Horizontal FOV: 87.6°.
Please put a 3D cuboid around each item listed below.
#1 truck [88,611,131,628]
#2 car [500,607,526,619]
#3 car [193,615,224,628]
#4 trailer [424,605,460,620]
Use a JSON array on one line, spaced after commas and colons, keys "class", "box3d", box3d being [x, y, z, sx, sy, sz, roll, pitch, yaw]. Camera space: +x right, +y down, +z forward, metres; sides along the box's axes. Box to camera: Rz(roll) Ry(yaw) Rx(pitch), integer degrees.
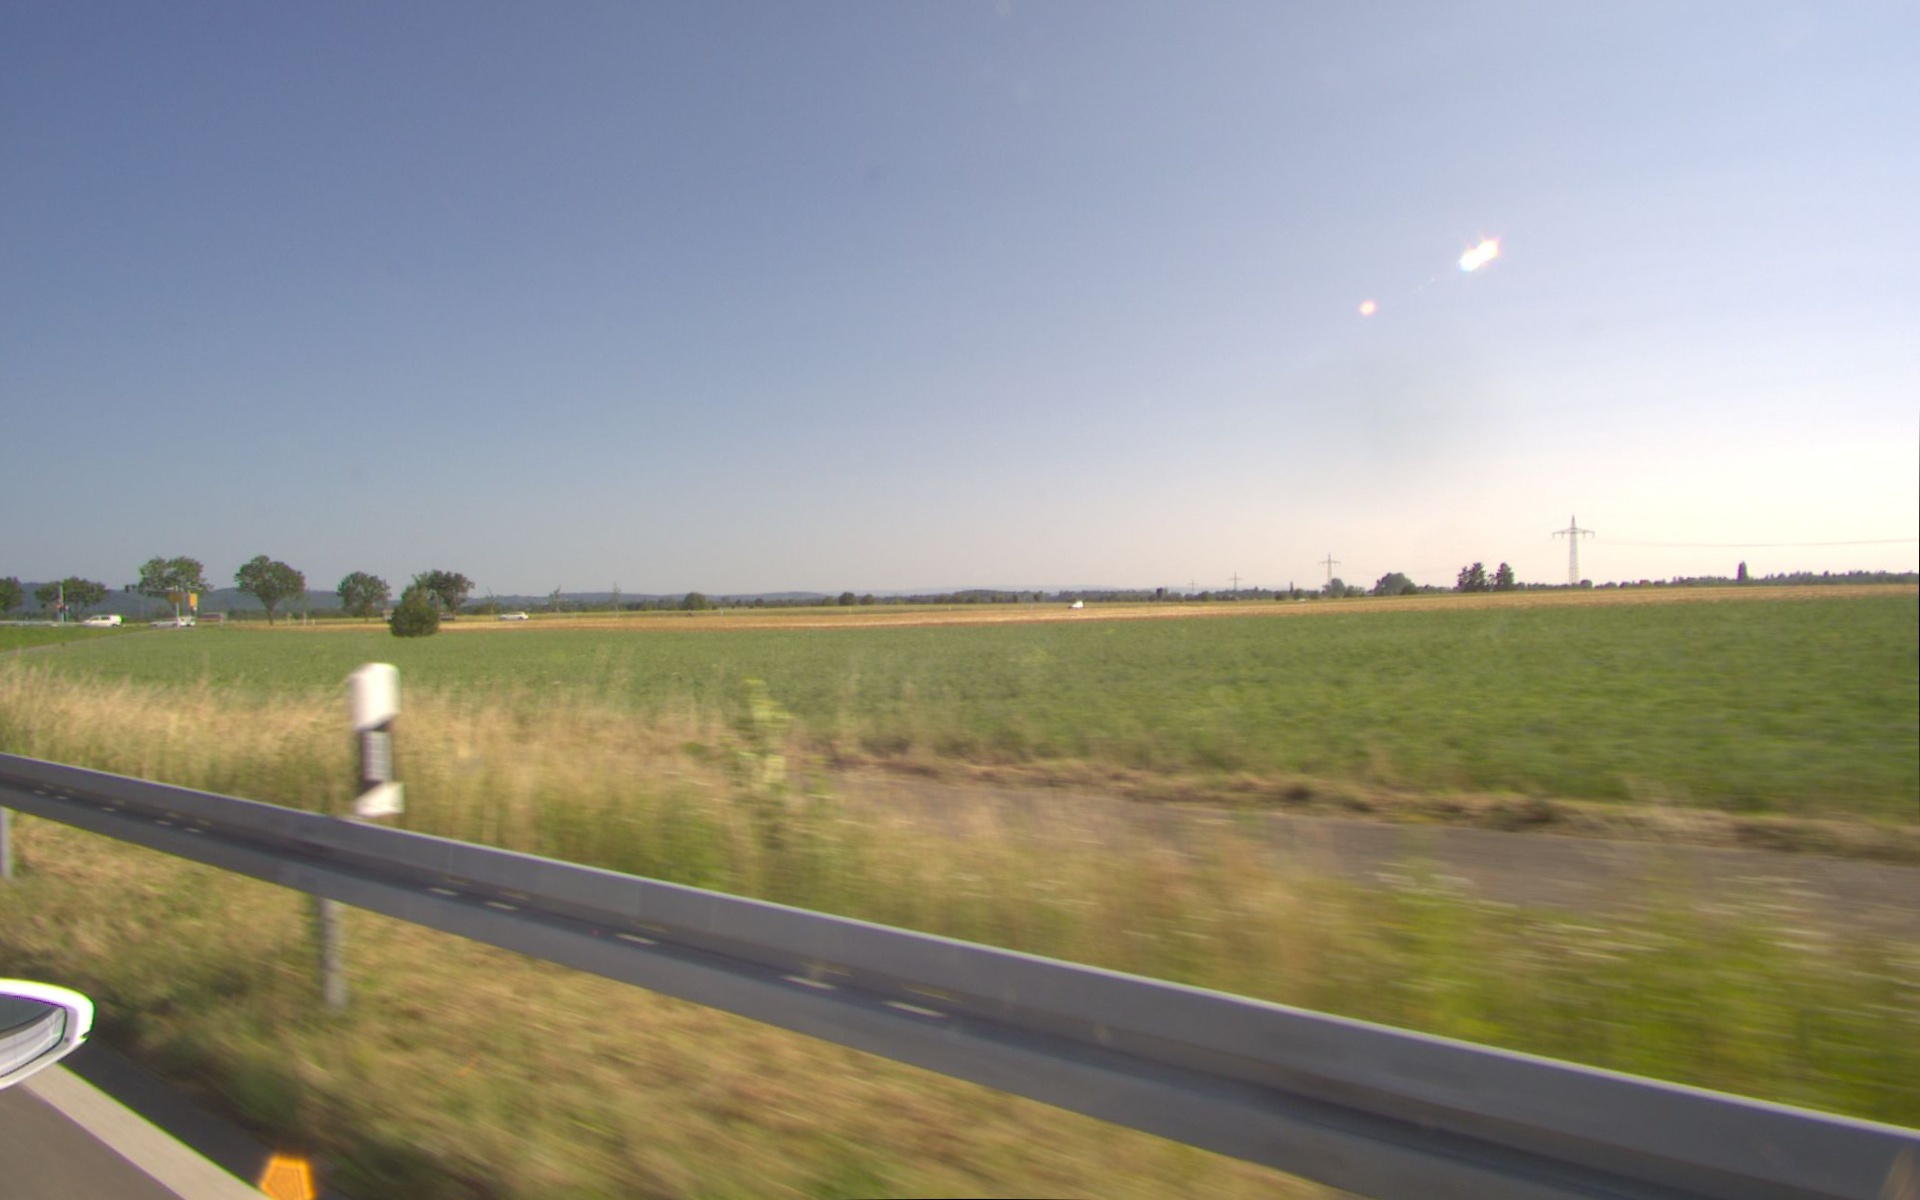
[{"class": "truck", "box3d": [-131.024, 3.060, 154.244, 5.016, 2.561, 1.982, 1, -2, -43]}, {"class": "car", "box3d": [-78.508, 2.282, 175.995, 3.932, 2.040, 1.995, -1, 0, -20]}, {"class": "car", "box3d": [-122.183, 3.452, 162.858, 3.947, 2.039, 1.988, 1, -2, -33]}, {"class": "trailer", "box3d": [-89.351, 2.198, 172.825, 5.375, 2.383, 3.344, 0, -2, -25]}]
